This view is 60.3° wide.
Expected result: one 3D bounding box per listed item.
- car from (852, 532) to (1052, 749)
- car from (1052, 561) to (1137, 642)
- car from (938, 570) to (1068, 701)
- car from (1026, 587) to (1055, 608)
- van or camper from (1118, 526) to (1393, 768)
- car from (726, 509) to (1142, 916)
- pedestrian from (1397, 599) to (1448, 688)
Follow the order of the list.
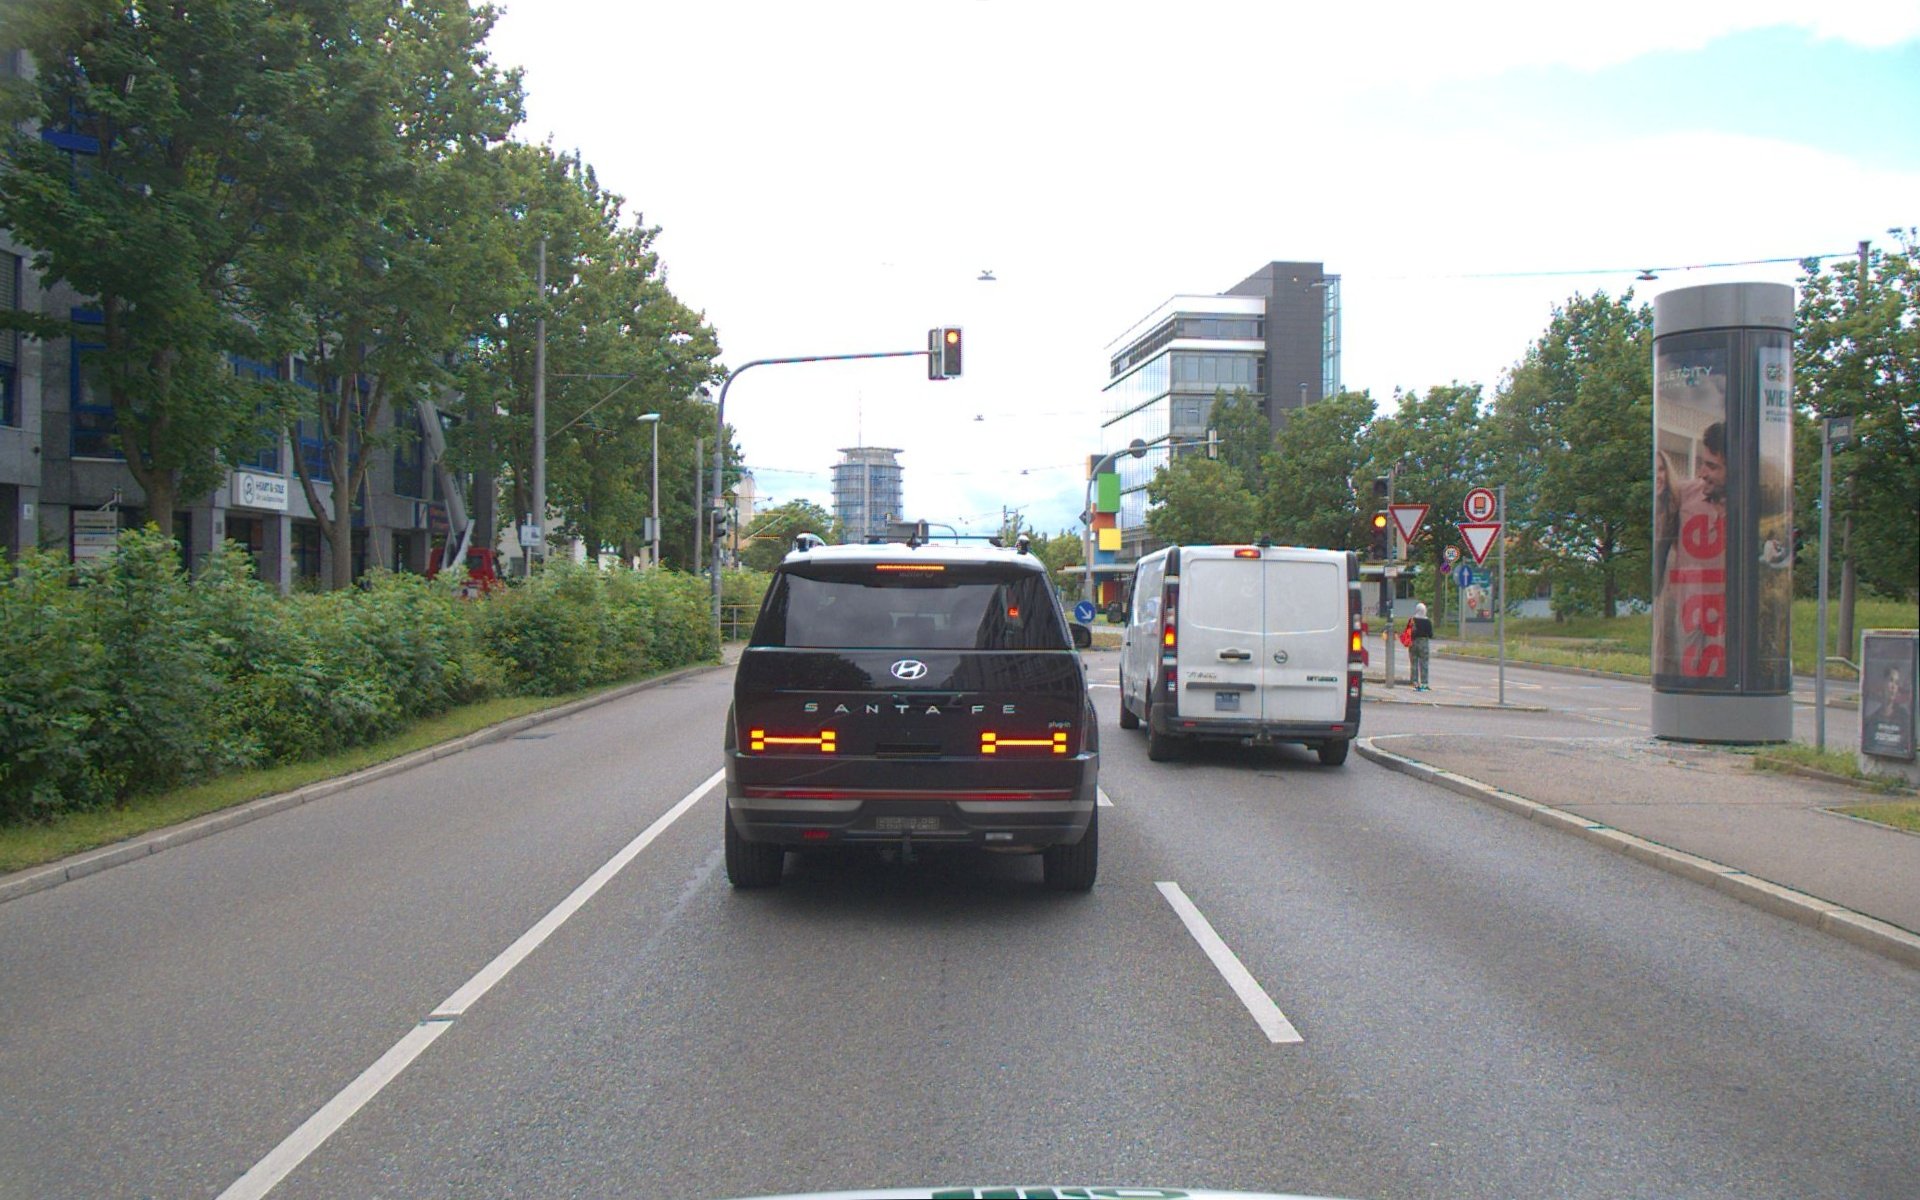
[{"bbox_3d":[-0.106,0.372,17.503,1.876,2.038,3.879,0,0,-1],"label":"car"},{"bbox_3d":[3.589,0.051,44.619,1.953,2.049,4.000,1,0,0],"label":"car"},{"bbox_3d":[0.611,0.491,24.578,1.739,1.747,4.339,1,0,1],"label":"car"},{"bbox_3d":[6.585,-0.191,135.996,1.954,1.713,3.997,1,0,-3],"label":"car"},{"bbox_3d":[2.758,0.389,16.517,1.952,2.049,4.653,1,0,1],"label":"van or camper"},{"bbox_3d":[-0.142,0.484,9.235,1.831,1.791,3.879,0,0,-1],"label":"car"},{"bbox_3d":[8.629,0.812,30.868,0.733,1.612,0.565,2,0,-41],"label":"pedestrian"}]
